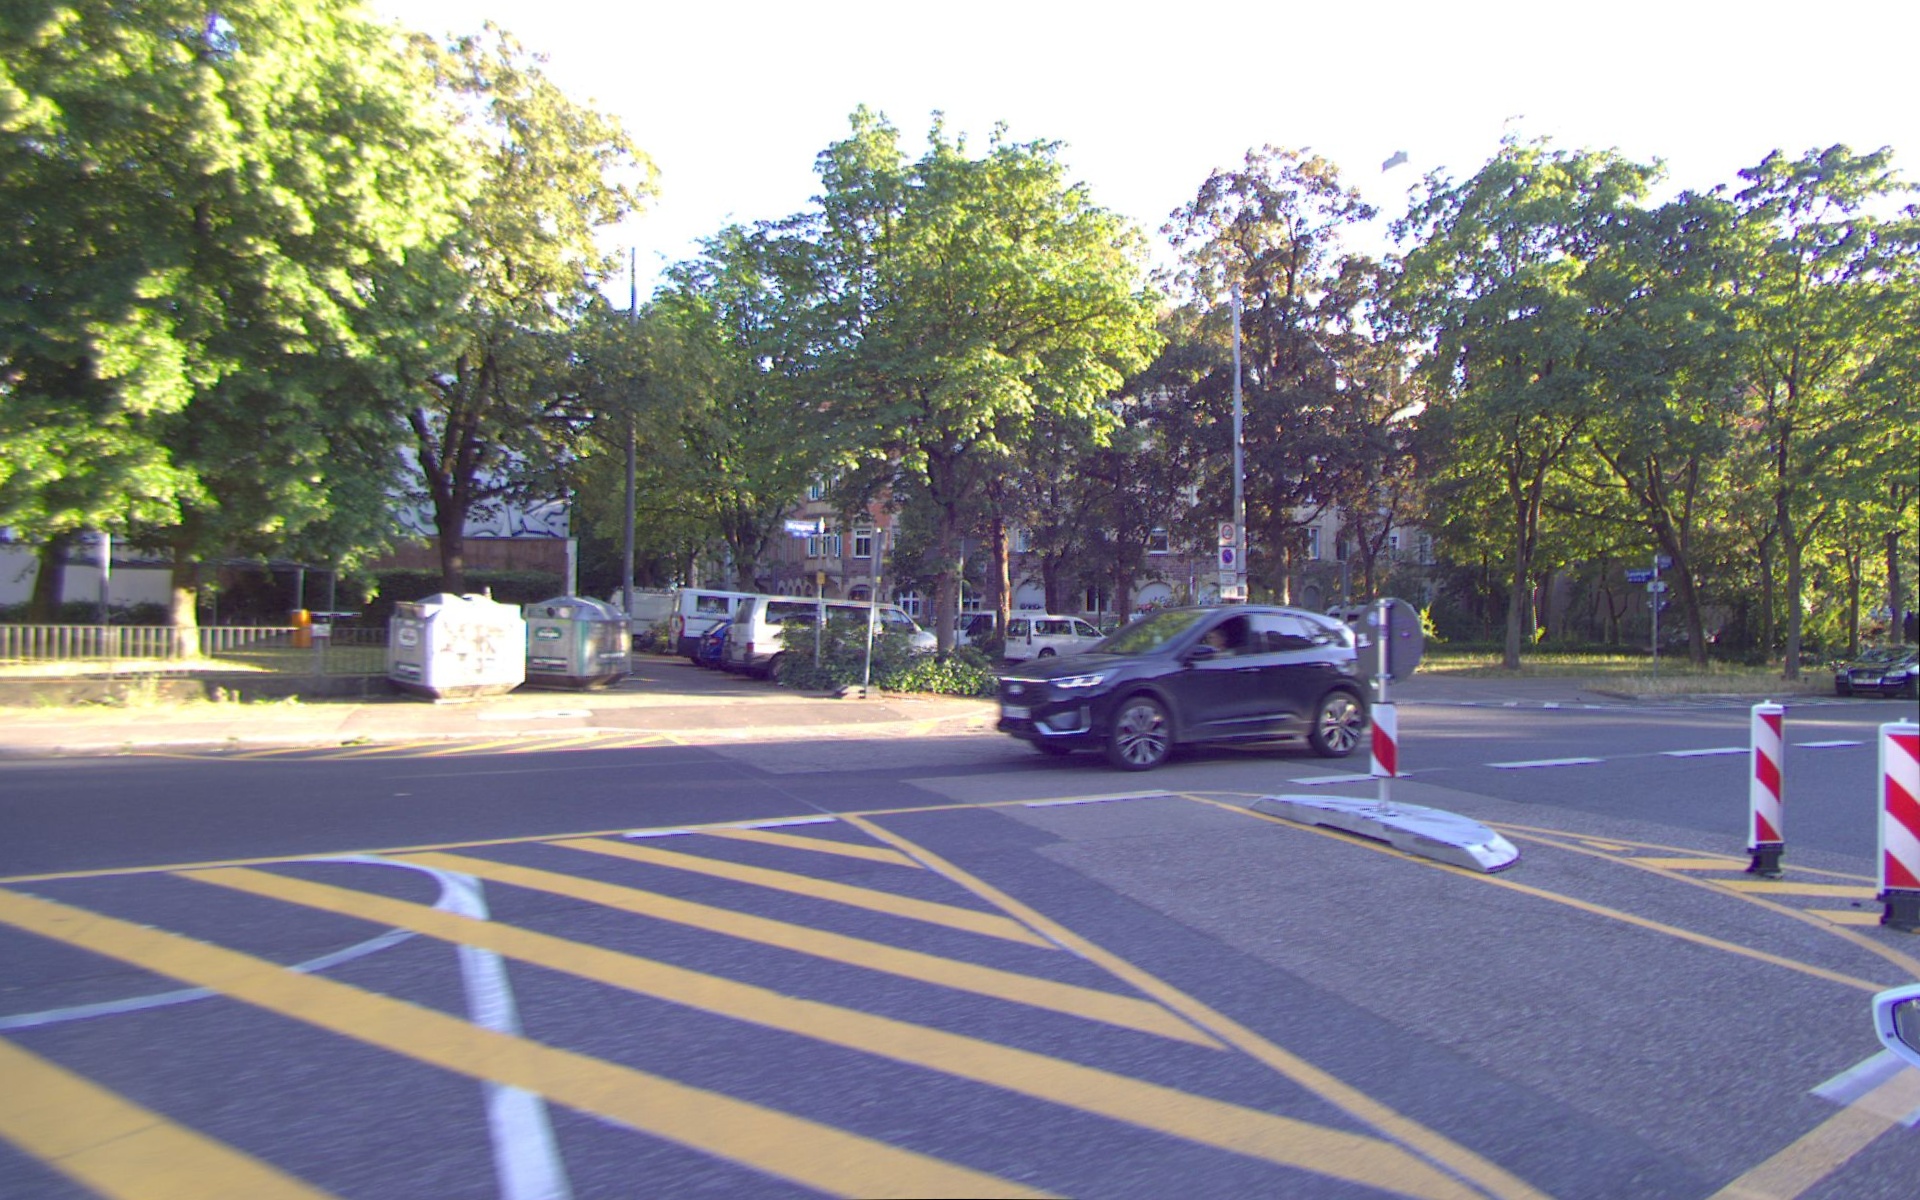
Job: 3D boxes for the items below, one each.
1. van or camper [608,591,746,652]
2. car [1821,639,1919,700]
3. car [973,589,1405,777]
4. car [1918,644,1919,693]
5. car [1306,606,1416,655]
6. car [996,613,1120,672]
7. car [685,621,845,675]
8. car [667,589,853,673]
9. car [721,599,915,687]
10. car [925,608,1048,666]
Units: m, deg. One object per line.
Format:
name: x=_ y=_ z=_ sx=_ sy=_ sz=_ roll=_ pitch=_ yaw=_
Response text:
van or camper: x=-12.115 y=0.932 z=43.087 sx=5.360 sy=2.504 sz=2.057 roll=2 pitch=0 yaw=-28
car: x=25.771 y=1.875 z=27.590 sx=4.485 sy=1.526 sz=1.618 roll=2 pitch=-2 yaw=-27
car: x=2.565 y=0.882 z=11.139 sx=4.507 sy=1.728 sz=1.871 roll=2 pitch=-4 yaw=-26
car: x=30.681 y=2.068 z=30.083 sx=4.188 sy=1.448 sz=1.622 roll=1 pitch=-2 yaw=-28
car: x=21.780 y=1.636 z=54.745 sx=5.128 sy=2.518 sz=2.275 roll=1 pitch=-1 yaw=8
car: x=3.469 y=1.480 z=35.445 sx=3.954 sy=1.907 sz=1.983 roll=2 pitch=1 yaw=-31
car: x=-5.298 y=1.289 z=27.392 sx=3.954 sy=1.350 sz=1.724 roll=2 pitch=0 yaw=-31
car: x=-5.923 y=0.903 z=29.772 sx=5.028 sy=2.319 sz=2.209 roll=2 pitch=0 yaw=-24
car: x=-3.195 y=0.943 z=22.769 sx=3.954 sy=1.819 sz=1.809 roll=2 pitch=0 yaw=-31
car: x=1.126 y=1.526 z=41.384 sx=4.685 sy=2.218 sz=1.984 roll=2 pitch=1 yaw=-30
